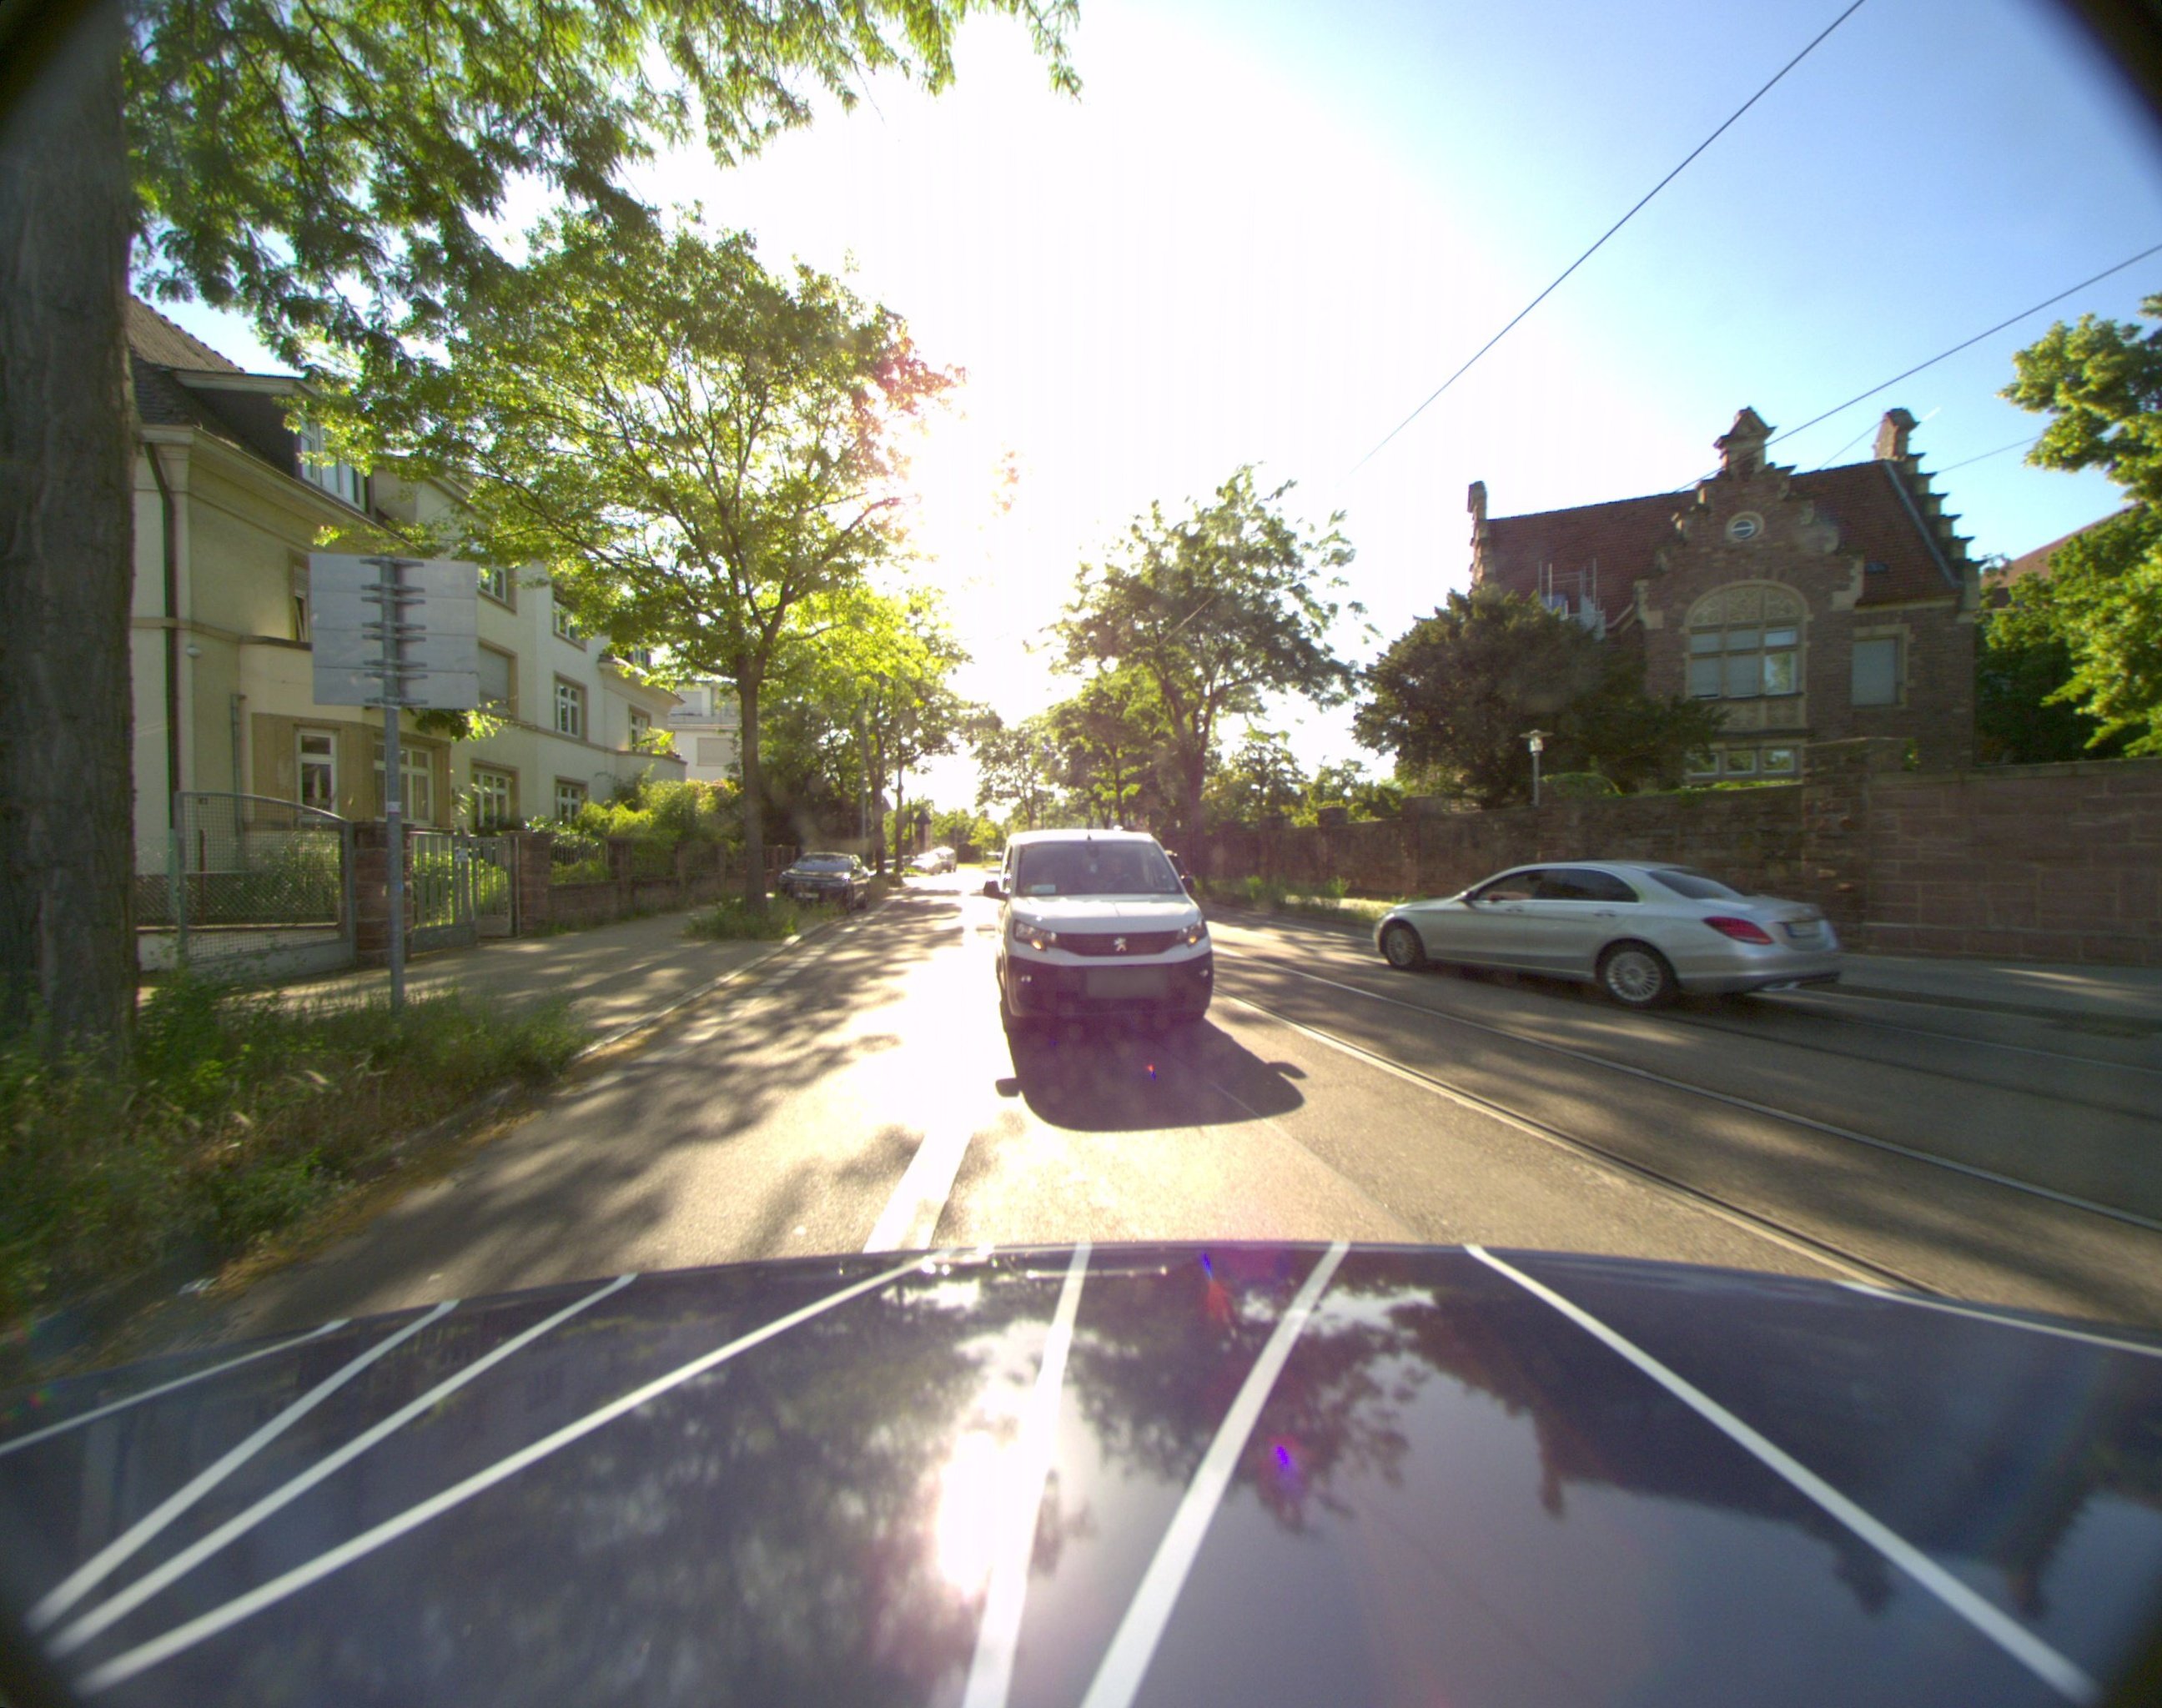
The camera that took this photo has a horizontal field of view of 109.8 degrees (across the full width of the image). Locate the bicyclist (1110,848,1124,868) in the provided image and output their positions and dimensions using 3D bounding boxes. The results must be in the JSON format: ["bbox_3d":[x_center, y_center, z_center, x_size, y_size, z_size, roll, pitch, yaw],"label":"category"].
[{"bbox_3d":[2.477,0.257,51.973,0.768,1.383,1.271,-1,1,-6],"label":"bicyclist"}]

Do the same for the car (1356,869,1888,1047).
[{"bbox_3d":[5.611,0.897,8.692,1.892,1.406,4.614,0,-1,-26],"label":"car"}]

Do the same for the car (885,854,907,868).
[{"bbox_3d":[-19.283,0.710,79.369,1.742,1.434,3.997,-1,1,-6],"label":"car"}]

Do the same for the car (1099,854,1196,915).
[{"bbox_3d":[1.822,0.813,22.255,1.802,1.628,4.115,0,0,-10],"label":"car"}]

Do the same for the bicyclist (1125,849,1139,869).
[{"bbox_3d":[3.495,0.345,52.118,0.734,1.383,1.060,-1,1,-6],"label":"bicyclist"}]

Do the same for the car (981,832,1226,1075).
[{"bbox_3d":[-0.084,0.718,7.938,1.833,1.788,4.330,-1,1,-8],"label":"car"}]

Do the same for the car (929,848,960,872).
[{"bbox_3d":[-10.935,0.414,61.082,1.905,1.819,4.246,-1,1,-4],"label":"car"}]

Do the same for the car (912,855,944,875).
[{"bbox_3d":[-10.974,0.753,54.670,1.720,1.332,3.915,-1,1,-4],"label":"car"}]

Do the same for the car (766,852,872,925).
[{"bbox_3d":[-7.088,0.847,21.004,2.000,1.733,4.167,-1,1,-8],"label":"car"}]

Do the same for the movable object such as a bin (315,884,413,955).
[{"bbox_3d":[-11.427,1.022,12.130,0.965,1.049,0.728,-1,1,18],"label":"movable object such as a bin"}]
